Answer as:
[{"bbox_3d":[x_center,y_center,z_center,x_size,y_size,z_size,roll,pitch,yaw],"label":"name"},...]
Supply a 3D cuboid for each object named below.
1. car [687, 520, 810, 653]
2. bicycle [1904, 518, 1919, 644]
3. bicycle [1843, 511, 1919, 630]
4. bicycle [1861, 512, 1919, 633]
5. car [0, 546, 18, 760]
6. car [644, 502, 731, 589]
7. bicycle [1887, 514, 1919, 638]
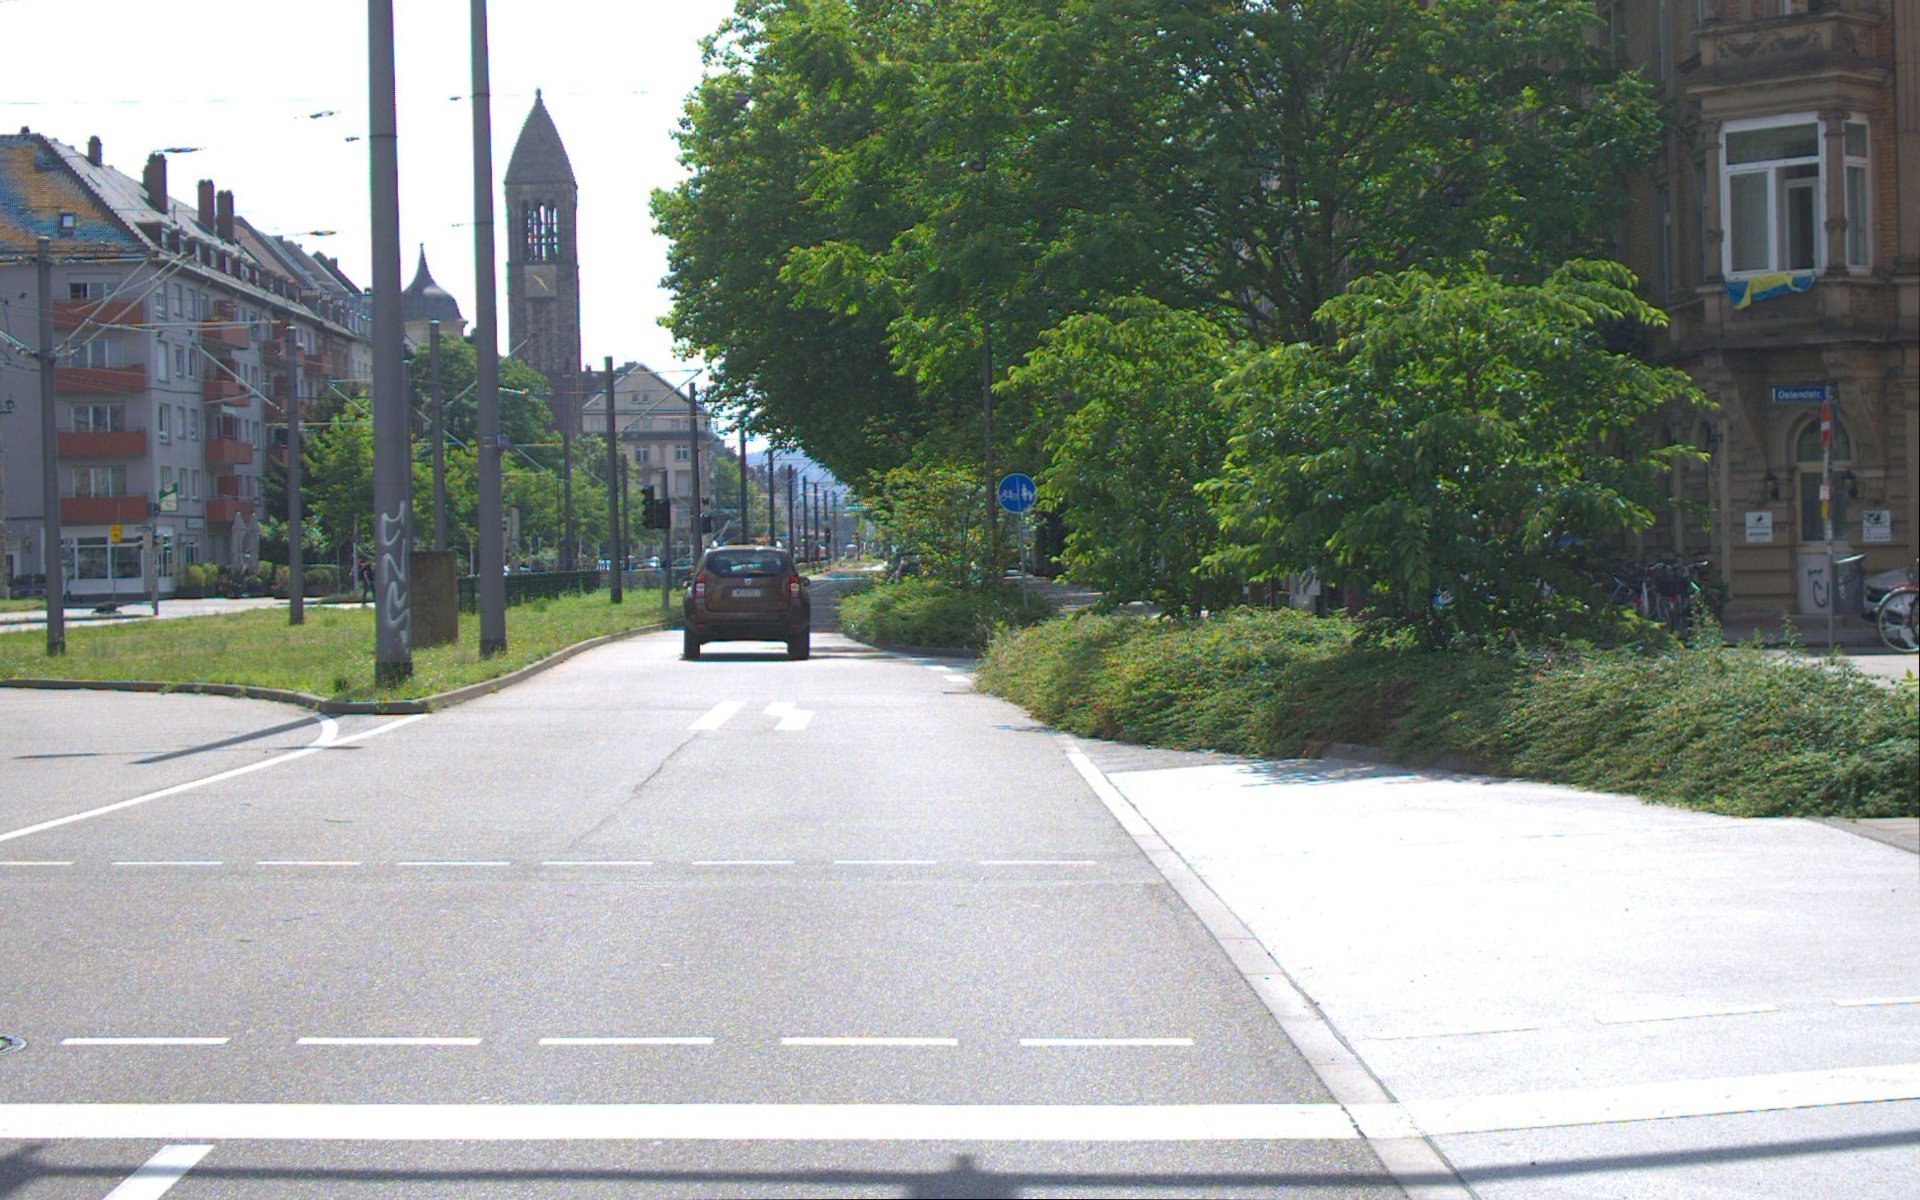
[{"bbox_3d":[-3.033,-0.229,49.876,1.688,1.705,3.610,-1,3,-2],"label":"car"},{"bbox_3d":[10.598,-0.214,35.128,1.769,1.263,0.466,-1,3,3],"label":"bicycle"},{"bbox_3d":[10.559,-0.329,37.434,1.769,1.263,0.466,-1,3,3],"label":"bicycle"},{"bbox_3d":[10.595,-0.309,36.827,1.769,1.263,0.466,-1,3,3],"label":"bicycle"},{"bbox_3d":[-7.702,0.422,23.191,1.799,1.546,4.296,-1,1,-5],"label":"car"},{"bbox_3d":[-6.619,-1.322,83.798,1.993,2.007,4.001,-2,1,-4],"label":"car"},{"bbox_3d":[10.586,-0.268,35.750,1.769,1.263,0.466,-1,3,3],"label":"bicycle"}]
